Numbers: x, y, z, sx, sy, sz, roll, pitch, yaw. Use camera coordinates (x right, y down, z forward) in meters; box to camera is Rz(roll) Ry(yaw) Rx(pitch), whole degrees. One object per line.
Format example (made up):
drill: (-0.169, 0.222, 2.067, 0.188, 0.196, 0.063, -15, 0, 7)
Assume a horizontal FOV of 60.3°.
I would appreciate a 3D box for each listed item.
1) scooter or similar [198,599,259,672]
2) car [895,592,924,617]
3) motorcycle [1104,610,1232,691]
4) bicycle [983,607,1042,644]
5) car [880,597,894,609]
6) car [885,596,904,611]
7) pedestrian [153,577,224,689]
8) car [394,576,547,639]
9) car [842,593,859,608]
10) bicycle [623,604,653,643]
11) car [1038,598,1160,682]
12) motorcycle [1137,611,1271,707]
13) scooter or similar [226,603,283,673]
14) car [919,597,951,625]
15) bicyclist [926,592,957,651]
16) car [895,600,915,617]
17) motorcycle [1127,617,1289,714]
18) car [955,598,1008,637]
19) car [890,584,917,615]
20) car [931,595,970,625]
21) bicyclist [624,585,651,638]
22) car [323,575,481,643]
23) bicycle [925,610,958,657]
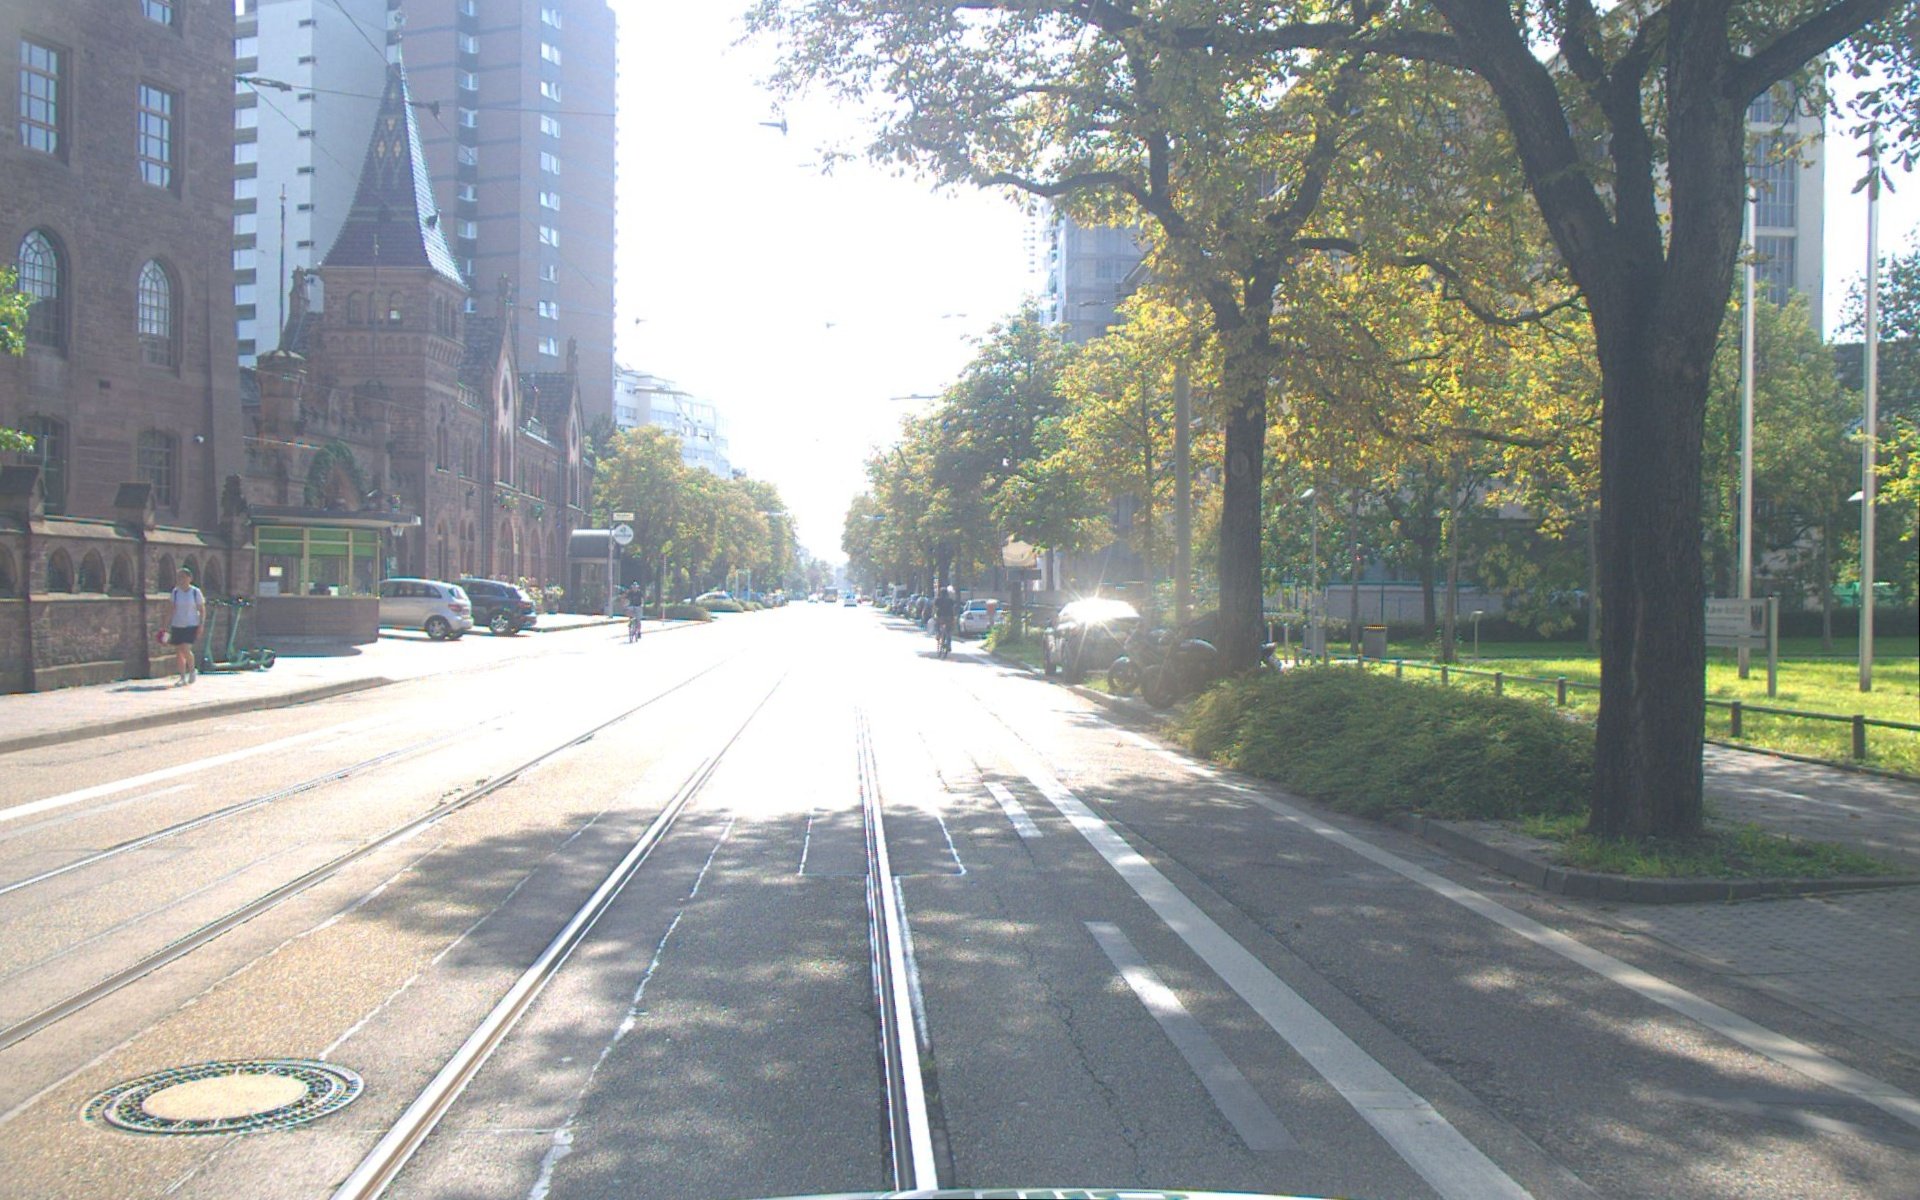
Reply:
scooter or similar: (-11.984, 0.588, 27.100, 0.809, 1.168, 0.280, 4, -3, -41)
car: (-3.585, 0.291, 117.331, 1.719, 1.721, 4.391, 1, 0, -6)
motorcycle: (3.341, 0.801, 26.618, 1.942, 1.246, 0.646, 0, 0, 21)
bicycle: (1.631, 0.791, 51.869, 1.735, 1.082, 0.795, -1, 0, -6)
car: (-8.823, 0.354, 200.720, 1.656, 1.443, 3.632, 0, 0, -3)
car: (-6.626, 0.375, 167.388, 1.719, 1.402, 4.715, -1, 0, -4)
pedestrian: (-11.348, 0.480, 24.346, 0.701, 1.617, 0.774, 1, 0, -5)
car: (-15.732, 0.235, 53.347, 4.314, 1.674, 1.954, 4, 0, -7)
car: (-13.086, 0.062, 197.873, 1.954, 1.870, 3.998, 1, 0, -3)
bicycle: (-10.138, 0.720, 52.090, 0.684, 1.178, 2.035, -3, 0, -6)
car: (2.753, 0.764, 33.647, 1.707, 1.512, 4.432, -1, 1, -5)
motorcycle: (3.594, 0.845, 24.567, 0.834, 1.350, 2.044, -1, 0, -32)
scooter or similar: (-12.080, 0.652, 28.329, 0.809, 1.168, 0.280, 4, -3, -41)
car: (-1.426, 0.625, 94.377, 1.613, 1.537, 3.775, -1, 0, -4)
bicyclist: (-0.479, 0.538, 42.388, 0.771, 1.495, 1.115, 0, 0, -2)
car: (-4.633, 0.722, 138.145, 1.584, 1.398, 4.824, 0, 0, -3)
motorcycle: (3.395, 0.877, 22.698, 2.025, 1.264, 0.842, -1, 0, 35)
car: (0.811, 0.656, 64.133, 1.608, 1.455, 3.984, -1, 0, -6)
car: (-5.086, -0.070, 148.320, 2.042, 2.597, 5.495, -3, 0, -5)
car: (-0.487, 0.493, 82.603, 1.614, 1.453, 4.081, 0, 0, -5)
bicyclist: (-10.147, 0.352, 52.057, 0.684, 1.608, 1.086, -3, 0, -6)
car: (-15.981, 0.249, 47.488, 3.821, 1.623, 1.822, 4, 0, -2)
bicycle: (-0.488, 0.847, 42.421, 0.771, 1.164, 2.304, 0, 0, -2)
